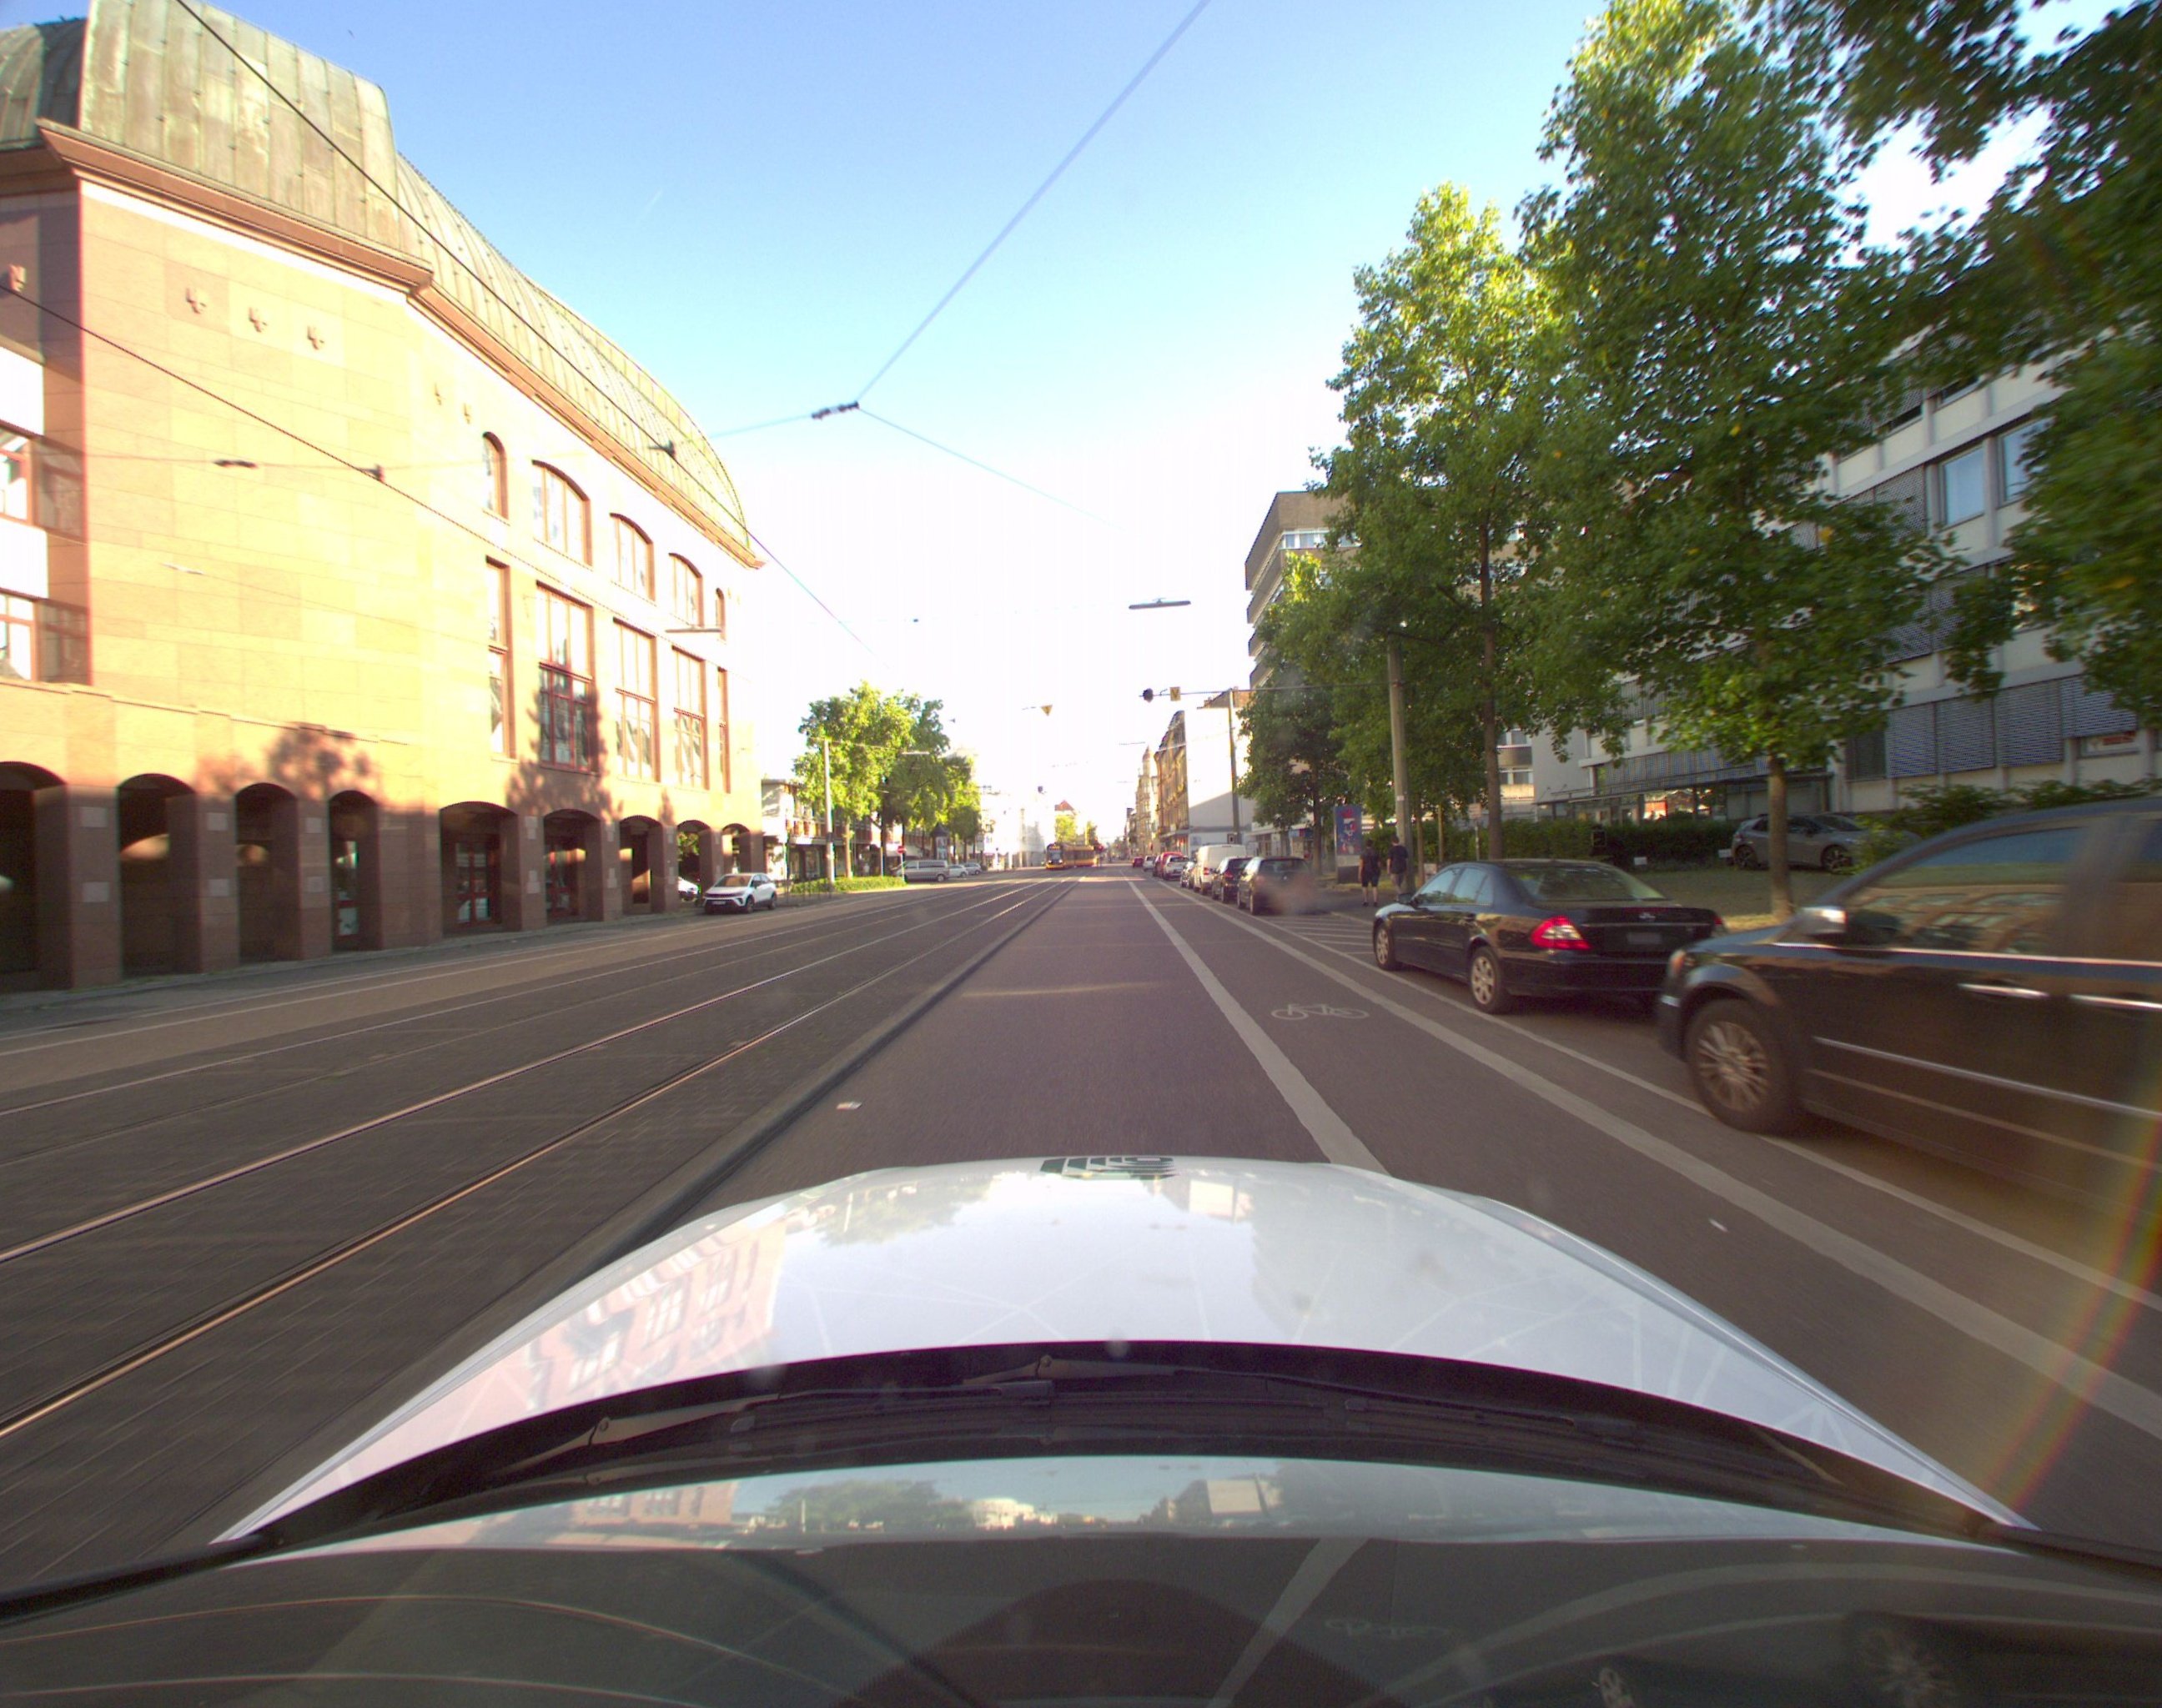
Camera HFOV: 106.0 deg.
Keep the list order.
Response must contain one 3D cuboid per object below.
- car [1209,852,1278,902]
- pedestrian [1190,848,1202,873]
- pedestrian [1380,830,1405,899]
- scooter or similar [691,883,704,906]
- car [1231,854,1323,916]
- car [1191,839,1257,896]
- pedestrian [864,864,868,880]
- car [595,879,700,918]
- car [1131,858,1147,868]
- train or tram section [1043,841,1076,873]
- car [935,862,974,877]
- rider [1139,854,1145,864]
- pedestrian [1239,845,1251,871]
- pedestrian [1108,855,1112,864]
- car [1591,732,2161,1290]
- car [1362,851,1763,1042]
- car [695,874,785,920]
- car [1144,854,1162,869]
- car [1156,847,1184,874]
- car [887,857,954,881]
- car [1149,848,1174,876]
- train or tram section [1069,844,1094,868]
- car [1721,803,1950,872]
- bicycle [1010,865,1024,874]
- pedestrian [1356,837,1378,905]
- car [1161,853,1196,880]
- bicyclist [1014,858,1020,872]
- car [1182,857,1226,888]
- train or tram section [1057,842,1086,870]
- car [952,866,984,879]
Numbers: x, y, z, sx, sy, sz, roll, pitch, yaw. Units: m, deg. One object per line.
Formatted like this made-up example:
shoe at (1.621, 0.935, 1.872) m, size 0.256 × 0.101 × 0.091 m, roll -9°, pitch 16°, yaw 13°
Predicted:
car at (5.282, 0.707, 26.891) m, size 1.614 × 1.473 × 3.973 m, roll -2°, pitch 0°, yaw 2°
pedestrian at (7.995, 0.466, 56.609) m, size 0.728 × 1.722 × 0.835 m, roll -2°, pitch 0°, yaw 3°
pedestrian at (7.974, 0.264, 20.855) m, size 0.494 × 1.709 × 0.456 m, roll -4°, pitch 2°, yaw 20°
scooter or similar at (-16.265, 1.709, 34.525) m, size 0.363 × 0.938 × 0.967 m, roll 0°, pitch 0°, yaw -18°
car at (5.080, 0.751, 21.615) m, size 1.614 × 1.431 × 3.987 m, roll -2°, pitch 0°, yaw 3°
car at (5.653, 0.483, 32.715) m, size 1.963 × 2.014 × 4.562 m, roll -4°, pitch 0°, yaw 3°
pedestrian at (-18.154, 1.491, 68.725) m, size 0.363 × 1.343 × 0.480 m, roll 0°, pitch 0°, yaw -18°
car at (-25.500, 2.578, 48.078) m, size 4.917 × 1.993 × 2.145 m, roll -2°, pitch 0°, yaw -10°
car at (7.866, 1.219, 111.058) m, size 2.058 × 1.389 × 4.227 m, roll 0°, pitch 0°, yaw 2°
train or tram section at (-2.709, 0.352, 107.543) m, size 2.678 × 3.960 × 12.113 m, roll 0°, pitch 0°, yaw 7°
car at (-14.012, 1.691, 90.565) m, size 3.892 × 1.627 × 1.858 m, roll -1°, pitch 0°, yaw -29°
rider at (9.600, 0.777, 128.274) m, size 0.710 × 1.481 × 0.884 m, roll -1°, pitch 0°, yaw -9°
pedestrian at (11.321, 0.288, 56.182) m, size 0.658 × 1.722 × 0.835 m, roll -2°, pitch 0°, yaw 3°
pedestrian at (6.214, 1.198, 174.103) m, size 0.916 × 2.013 × 0.759 m, roll 0°, pitch 0°, yaw 2°
car at (4.431, 0.489, 2.976) m, size 1.943 × 1.788 × 5.182 m, roll -1°, pitch 0°, yaw 1°
car at (4.682, 0.735, 8.898) m, size 1.710 × 1.427 × 4.677 m, roll -2°, pitch 1°, yaw 2°
car at (-13.805, 1.697, 33.269) m, size 1.864 × 1.600 × 4.252 m, roll -2°, pitch 0°, yaw -1°
car at (7.384, 0.767, 84.088) m, size 1.615 × 1.555 × 4.084 m, roll -1°, pitch 0°, yaw 2°
car at (6.279, 0.462, 57.574) m, size 1.615 × 1.813 × 4.084 m, roll -1°, pitch 0°, yaw 2°
car at (-14.041, 1.318, 71.271) m, size 5.285 × 2.043 × 2.395 m, roll 0°, pitch -2°, yaw -30°
car at (6.065, 0.567, 61.697) m, size 1.615 × 2.006 × 3.832 m, roll -1°, pitch 0°, yaw 2°
train or tram section at (0.114, 0.342, 131.924) m, size 2.677 × 3.752 × 11.311 m, roll 0°, pitch 0°, yaw 7°
car at (19.413, -0.432, 21.280) m, size 1.859 × 1.494 × 4.437 m, roll -3°, pitch 1°, yaw 0°
bicycle at (-9.428, 2.277, 119.930) m, size 2.008 × 1.239 × 0.702 m, roll 0°, pitch 0°, yaw 8°
pedestrian at (7.397, 0.430, 21.038) m, size 0.422 × 1.709 × 0.456 m, roll -4°, pitch 2°, yaw 20°
car at (6.099, 0.756, 51.330) m, size 1.716 × 1.567 × 4.084 m, roll -3°, pitch 0°, yaw 2°
bicyclist at (-9.400, 1.658, 119.918) m, size 0.717 × 2.013 × 0.702 m, roll 0°, pitch 0°, yaw 9°
car at (5.840, 0.858, 39.018) m, size 1.615 × 1.370 × 3.932 m, roll -1°, pitch 0°, yaw 2°
train or tram section at (-1.278, 0.322, 119.985) m, size 2.678 × 3.878 × 12.867 m, roll 0°, pitch 0°, yaw 7°
car at (-14.009, 2.247, 100.839) m, size 3.542 × 1.481 × 1.567 m, roll -1°, pitch 0°, yaw -30°
